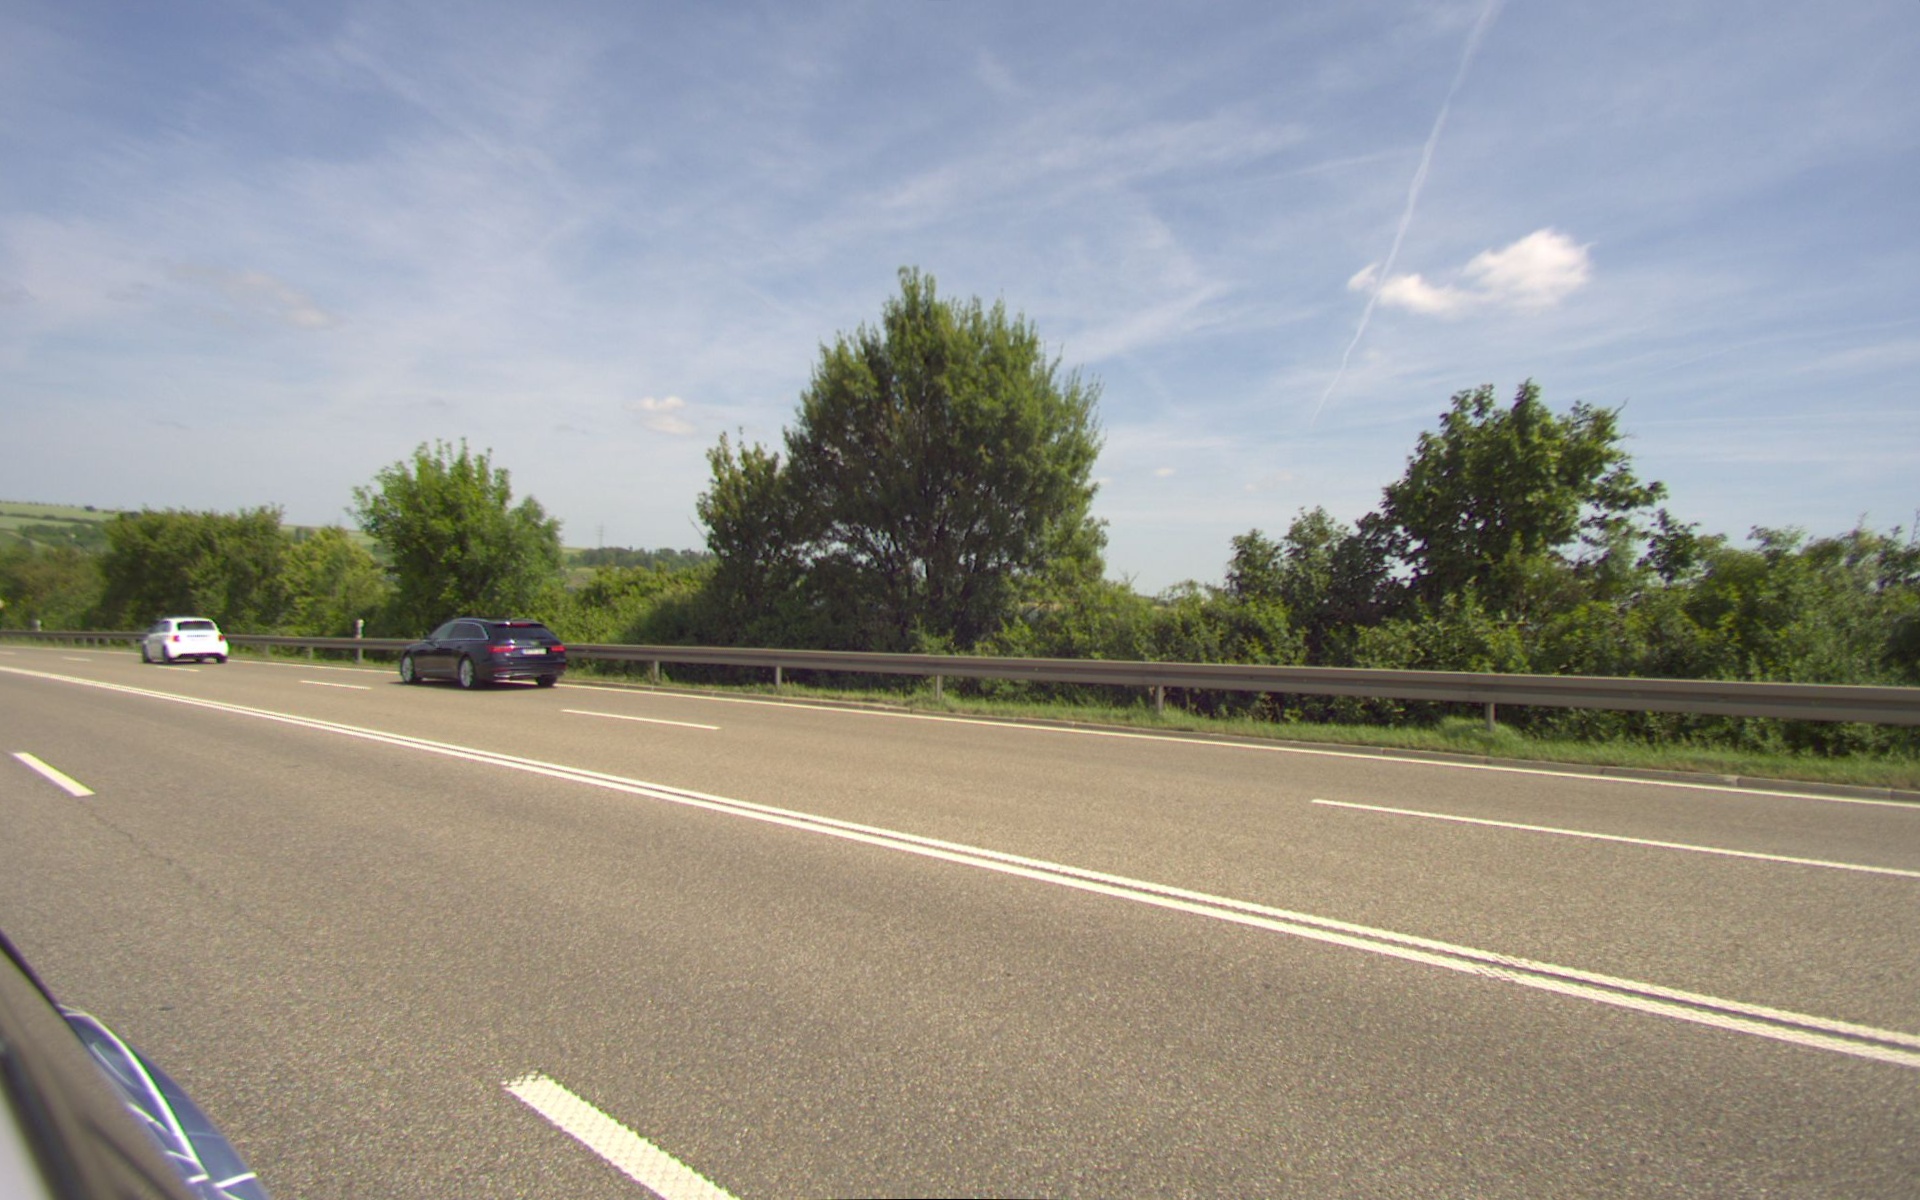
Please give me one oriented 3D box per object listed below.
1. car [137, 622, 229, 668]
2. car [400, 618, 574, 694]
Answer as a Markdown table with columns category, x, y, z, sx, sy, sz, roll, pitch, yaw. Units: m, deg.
| category | x | y | z | sx | sy | sz | roll | pitch | yaw |
| --- | --- | --- | --- | --- | --- | --- | --- | --- | --- |
| car | -26.117 | 1.474 | 33.985 | 3.730 | 1.468 | 1.641 | -1 | -2 | 39 |
| car | -10.226 | 1.142 | 21.734 | 4.324 | 1.466 | 1.817 | -1 | -2 | 42 |
